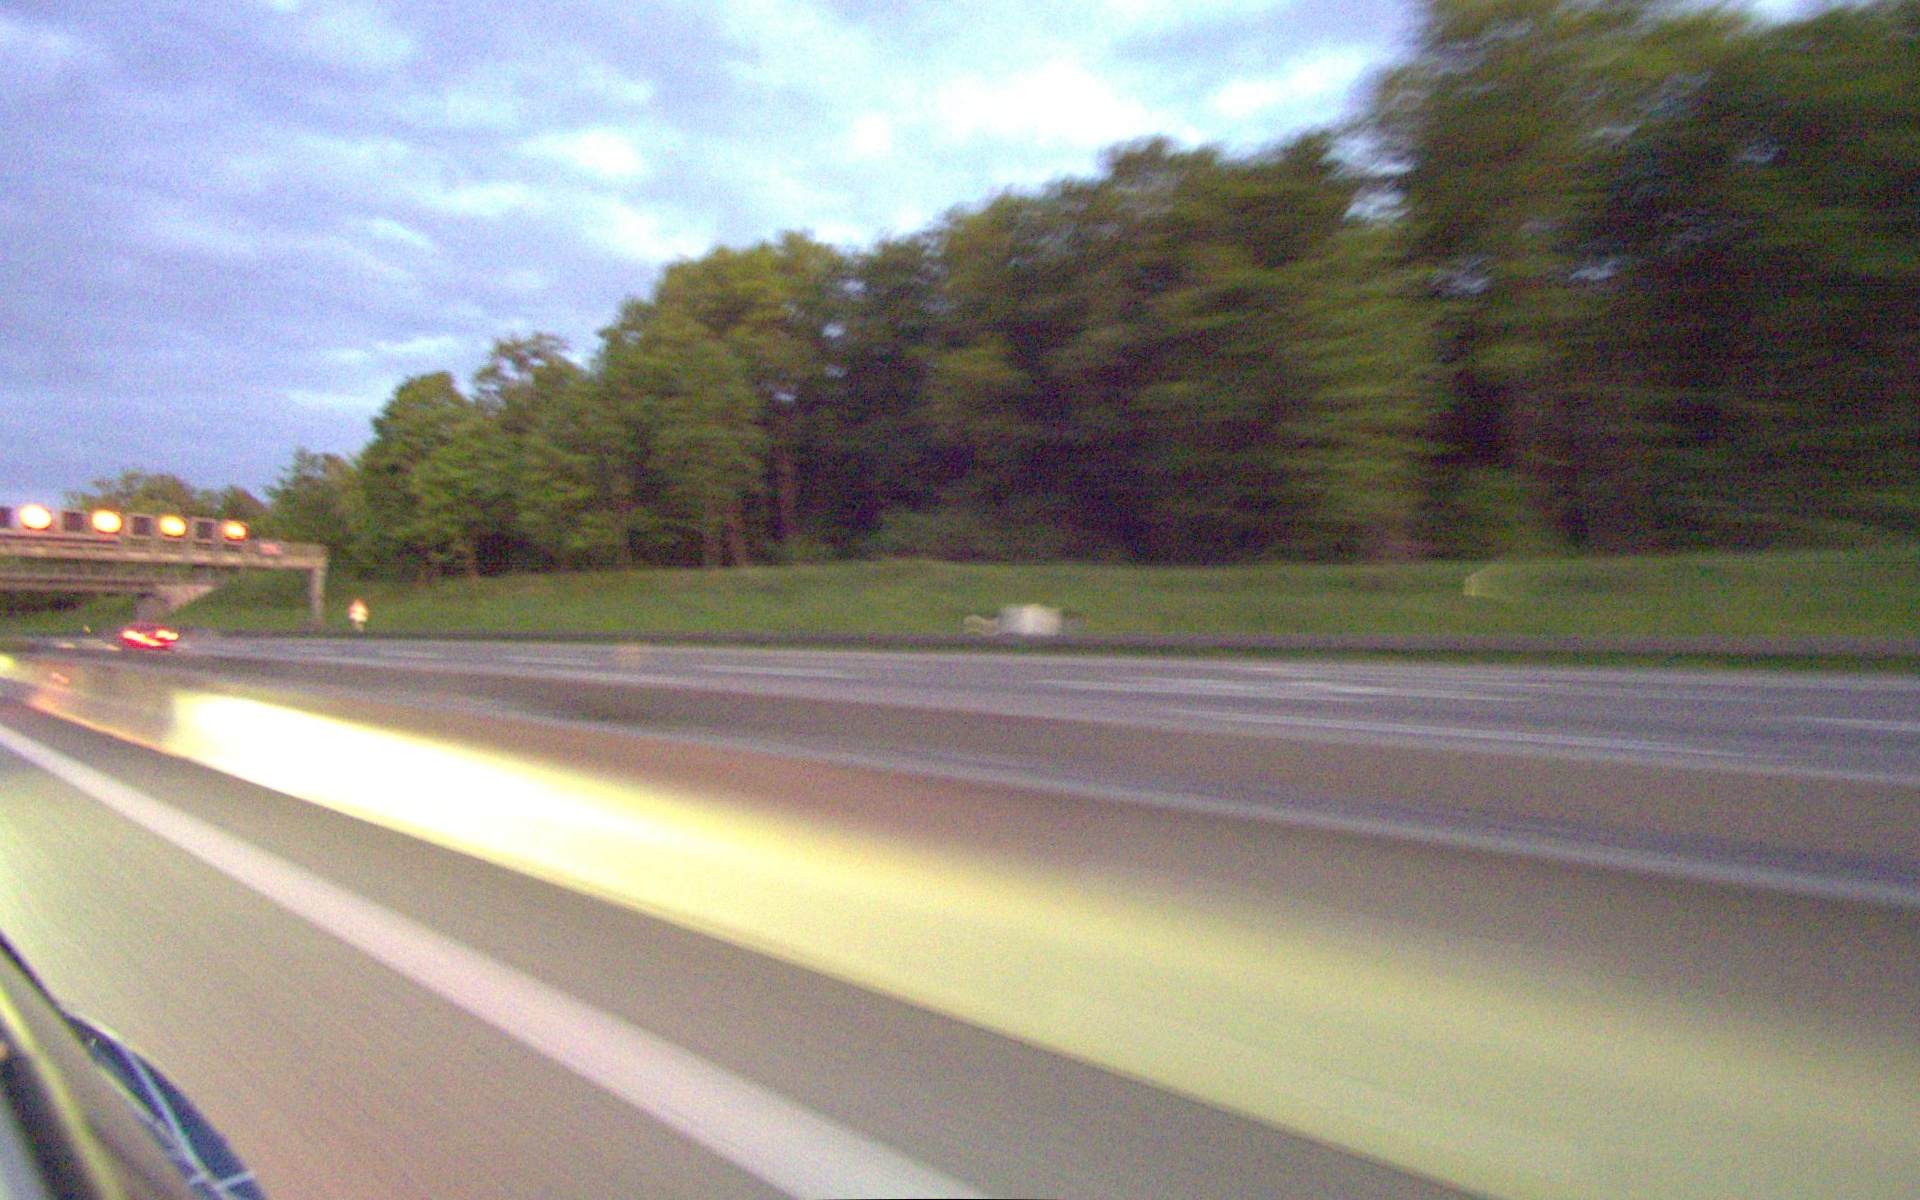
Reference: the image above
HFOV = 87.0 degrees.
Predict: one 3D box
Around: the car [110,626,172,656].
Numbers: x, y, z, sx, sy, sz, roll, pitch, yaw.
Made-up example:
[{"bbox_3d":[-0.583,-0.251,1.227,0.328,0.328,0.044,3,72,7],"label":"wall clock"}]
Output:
[{"bbox_3d":[-39.962,1.980,49.339,4.312,1.416,1.602,-2,-2,40],"label":"car"}]
